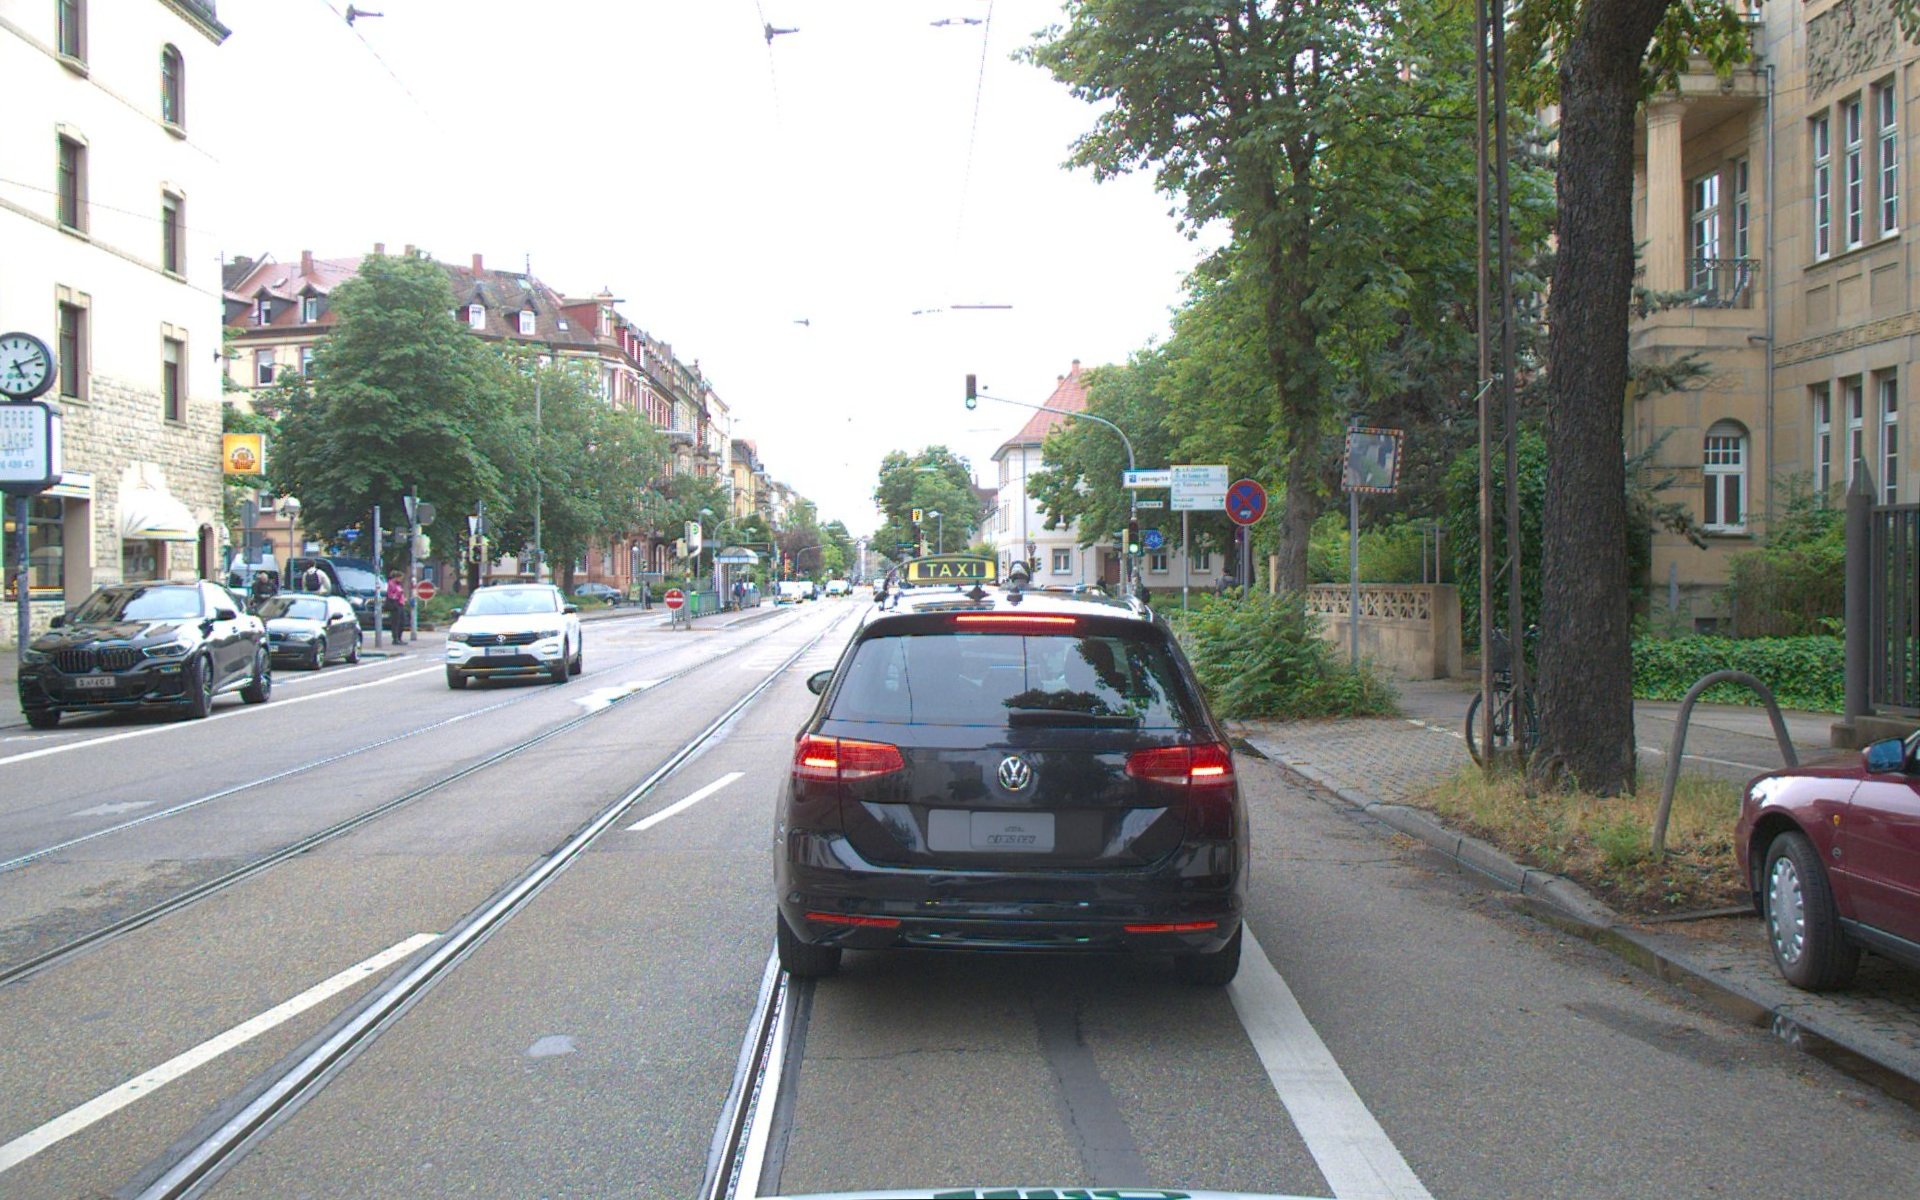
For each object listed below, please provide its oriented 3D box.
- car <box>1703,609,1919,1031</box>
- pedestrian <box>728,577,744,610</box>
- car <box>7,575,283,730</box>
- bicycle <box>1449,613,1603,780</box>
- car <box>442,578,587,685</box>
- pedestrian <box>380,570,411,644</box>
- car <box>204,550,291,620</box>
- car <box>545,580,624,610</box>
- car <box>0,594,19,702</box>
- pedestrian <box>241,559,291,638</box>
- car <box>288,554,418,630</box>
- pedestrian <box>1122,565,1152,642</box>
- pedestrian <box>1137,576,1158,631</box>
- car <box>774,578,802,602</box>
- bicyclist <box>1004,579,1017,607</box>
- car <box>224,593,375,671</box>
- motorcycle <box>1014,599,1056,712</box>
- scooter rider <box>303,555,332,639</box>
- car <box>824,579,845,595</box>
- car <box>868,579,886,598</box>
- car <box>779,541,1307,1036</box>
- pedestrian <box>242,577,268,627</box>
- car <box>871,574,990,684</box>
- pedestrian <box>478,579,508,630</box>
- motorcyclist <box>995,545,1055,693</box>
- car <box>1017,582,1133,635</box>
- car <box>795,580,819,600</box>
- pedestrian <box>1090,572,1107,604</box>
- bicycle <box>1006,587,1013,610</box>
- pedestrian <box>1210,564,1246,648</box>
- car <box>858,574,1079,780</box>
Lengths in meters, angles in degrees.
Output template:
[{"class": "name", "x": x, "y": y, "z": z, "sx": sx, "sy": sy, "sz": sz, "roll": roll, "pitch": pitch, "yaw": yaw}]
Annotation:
[{"class": "car", "x": 4.166, "y": 0.784, "z": 5.222, "sx": 1.570, "sy": 1.423, "sz": 4.225, "roll": -2, "pitch": 1, "yaw": -2}, {"class": "pedestrian", "x": -10.711, "y": -0.313, "z": 79.057, "sx": 0.699, "sy": 1.547, "sz": 0.589, "roll": 0, "pitch": 0, "yaw": -1}, {"class": "car", "x": -10.188, "y": 0.572, "z": 21.114, "sx": 1.849, "sy": 1.639, "sz": 4.874, "roll": -3, "pitch": 1, "yaw": -11}, {"class": "bicycle", "x": 4.466, "y": 0.723, "z": 12.972, "sx": 0.425, "sy": 1.219, "sz": 1.892, "roll": 0, "pitch": -1, "yaw": 42}, {"class": "car", "x": -6.968, "y": 0.434, "z": 26.193, "sx": 1.666, "sy": 1.522, "sz": 3.924, "roll": -1, "pitch": 1, "yaw": -8}, {"class": "pedestrian", "x": -14.368, "y": 0.169, "z": 42.096, "sx": 0.610, "sy": 1.874, "sz": 0.609, "roll": 0, "pitch": 0, "yaw": -5}, {"class": "car", "x": -27.581, "y": -0.583, "z": 63.927, "sx": 2.160, "sy": 2.571, "sz": 5.316, "roll": -1, "pitch": 1, "yaw": -34}, {"class": "car", "x": -21.509, "y": -0.283, "z": 94.817, "sx": 3.967, "sy": 1.624, "sz": 1.969, "roll": -1, "pitch": 1, "yaw": -42}, {"class": "car", "x": -14.627, "y": 0.550, "z": 20.865, "sx": 4.341, "sy": 1.394, "sz": 1.878, "roll": 2, "pitch": 0, "yaw": -7}, {"class": "pedestrian", "x": -18.362, "y": -0.050, "z": 43.768, "sx": 0.954, "sy": 2.049, "sz": 0.835, "roll": -1, "pitch": 0, "yaw": -3}, {"class": "car", "x": -20.581, "y": -0.273, "z": 55.957, "sx": 2.170, "sy": 2.459, "sz": 5.292, "roll": -1, "pitch": 1, "yaw": -44}, {"class": "pedestrian", "x": 4.389, "y": 0.085, "z": 40.979, "sx": 0.573, "sy": 1.862, "sz": 0.604, "roll": -3, "pitch": 0, "yaw": -1}, {"class": "pedestrian", "x": 6.375, "y": 0.116, "z": 56.263, "sx": 0.504, "sy": 1.862, "sz": 0.418, "roll": -3, "pitch": 0, "yaw": 25}, {"class": "car", "x": -12.097, "y": -0.688, "z": 116.508, "sx": 1.686, "sy": 1.651, "sz": 3.861, "roll": -1, "pitch": 1, "yaw": -3}, {"class": "bicyclist", "x": 2.827, "y": -0.397, "z": 92.580, "sx": 0.637, "sy": 1.595, "sz": 0.696, "roll": 0, "pitch": 0, "yaw": 4}, {"class": "car", "x": -13.226, "y": 0.599, "z": 33.365, "sx": 1.616, "sy": 1.385, "sz": 4.126, "roll": 2, "pitch": 0, "yaw": -5}, {"class": "motorcycle", "x": 0.886, "y": 0.624, "z": 19.725, "sx": 0.437, "sy": 1.257, "sz": 1.907, "roll": 0, "pitch": 1, "yaw": 1}, {"class": "scooter rider", "x": -15.921, "y": -0.081, "z": 41.002, "sx": 0.632, "sy": 2.049, "sz": 0.753, "roll": -1, "pitch": 0, "yaw": -20}, {"class": "car", "x": -12.714, "y": -1.339, "z": 168.150, "sx": 1.758, "sy": 1.624, "sz": 4.000, "roll": -1, "pitch": 1, "yaw": 0}, {"class": "car", "x": -9.163, "y": -1.308, "z": 182.671, "sx": 1.992, "sy": 2.049, "sz": 3.998, "roll": 1, "pitch": 0, "yaw": -2}, {"class": "car", "x": 0.194, "y": 0.578, "z": 7.287, "sx": 1.689, "sy": 1.573, "sz": 3.998, "roll": 0, "pitch": 1, "yaw": -2}, {"class": "pedestrian", "x": -25.115, "y": 0.070, "z": 58.929, "sx": 0.694, "sy": 1.745, "sz": 0.543, "roll": -1, "pitch": 0, "yaw": -43}, {"class": "car", "x": -0.494, "y": 0.389, "z": 25.591, "sx": 1.689, "sy": 1.573, "sz": 3.998, "roll": 0, "pitch": 1, "yaw": -2}, {"class": "pedestrian", "x": -15.555, "y": 0.145, "z": 55.136, "sx": 0.819, "sy": 1.692, "sz": 0.591, "roll": 0, "pitch": 0, "yaw": -1}, {"class": "motorcyclist", "x": 0.766, "y": 0.216, "z": 19.628, "sx": 0.688, "sy": 1.721, "sz": 0.804, "roll": 0, "pitch": 0, "yaw": 1}, {"class": "car", "x": 3.369, "y": 0.216, "z": 47.723, "sx": 1.856, "sy": 1.432, "sz": 3.994, "roll": 0, "pitch": 1, "yaw": 29}, {"class": "car", "x": -12.207, "y": -0.817, "z": 132.276, "sx": 1.686, "sy": 1.490, "sz": 3.861, "roll": -1, "pitch": 1, "yaw": -3}, {"class": "pedestrian", "x": 6.847, "y": -0.601, "z": 81.801, "sx": 0.604, "sy": 1.581, "sz": 0.574, "roll": 0, "pitch": 0, "yaw": -41}, {"class": "bicycle", "x": 2.774, "y": -0.091, "z": 92.653, "sx": 0.291, "sy": 1.244, "sz": 1.431, "roll": 0, "pitch": 1, "yaw": 5}, {"class": "pedestrian", "x": 5.964, "y": 0.126, "z": 36.842, "sx": 0.619, "sy": 1.846, "sz": 0.725, "roll": 0, "pitch": 0, "yaw": -5}, {"class": "car", "x": -0.009, "y": 0.570, "z": 14.665, "sx": 1.689, "sy": 1.573, "sz": 3.998, "roll": 0, "pitch": 1, "yaw": -2}]
